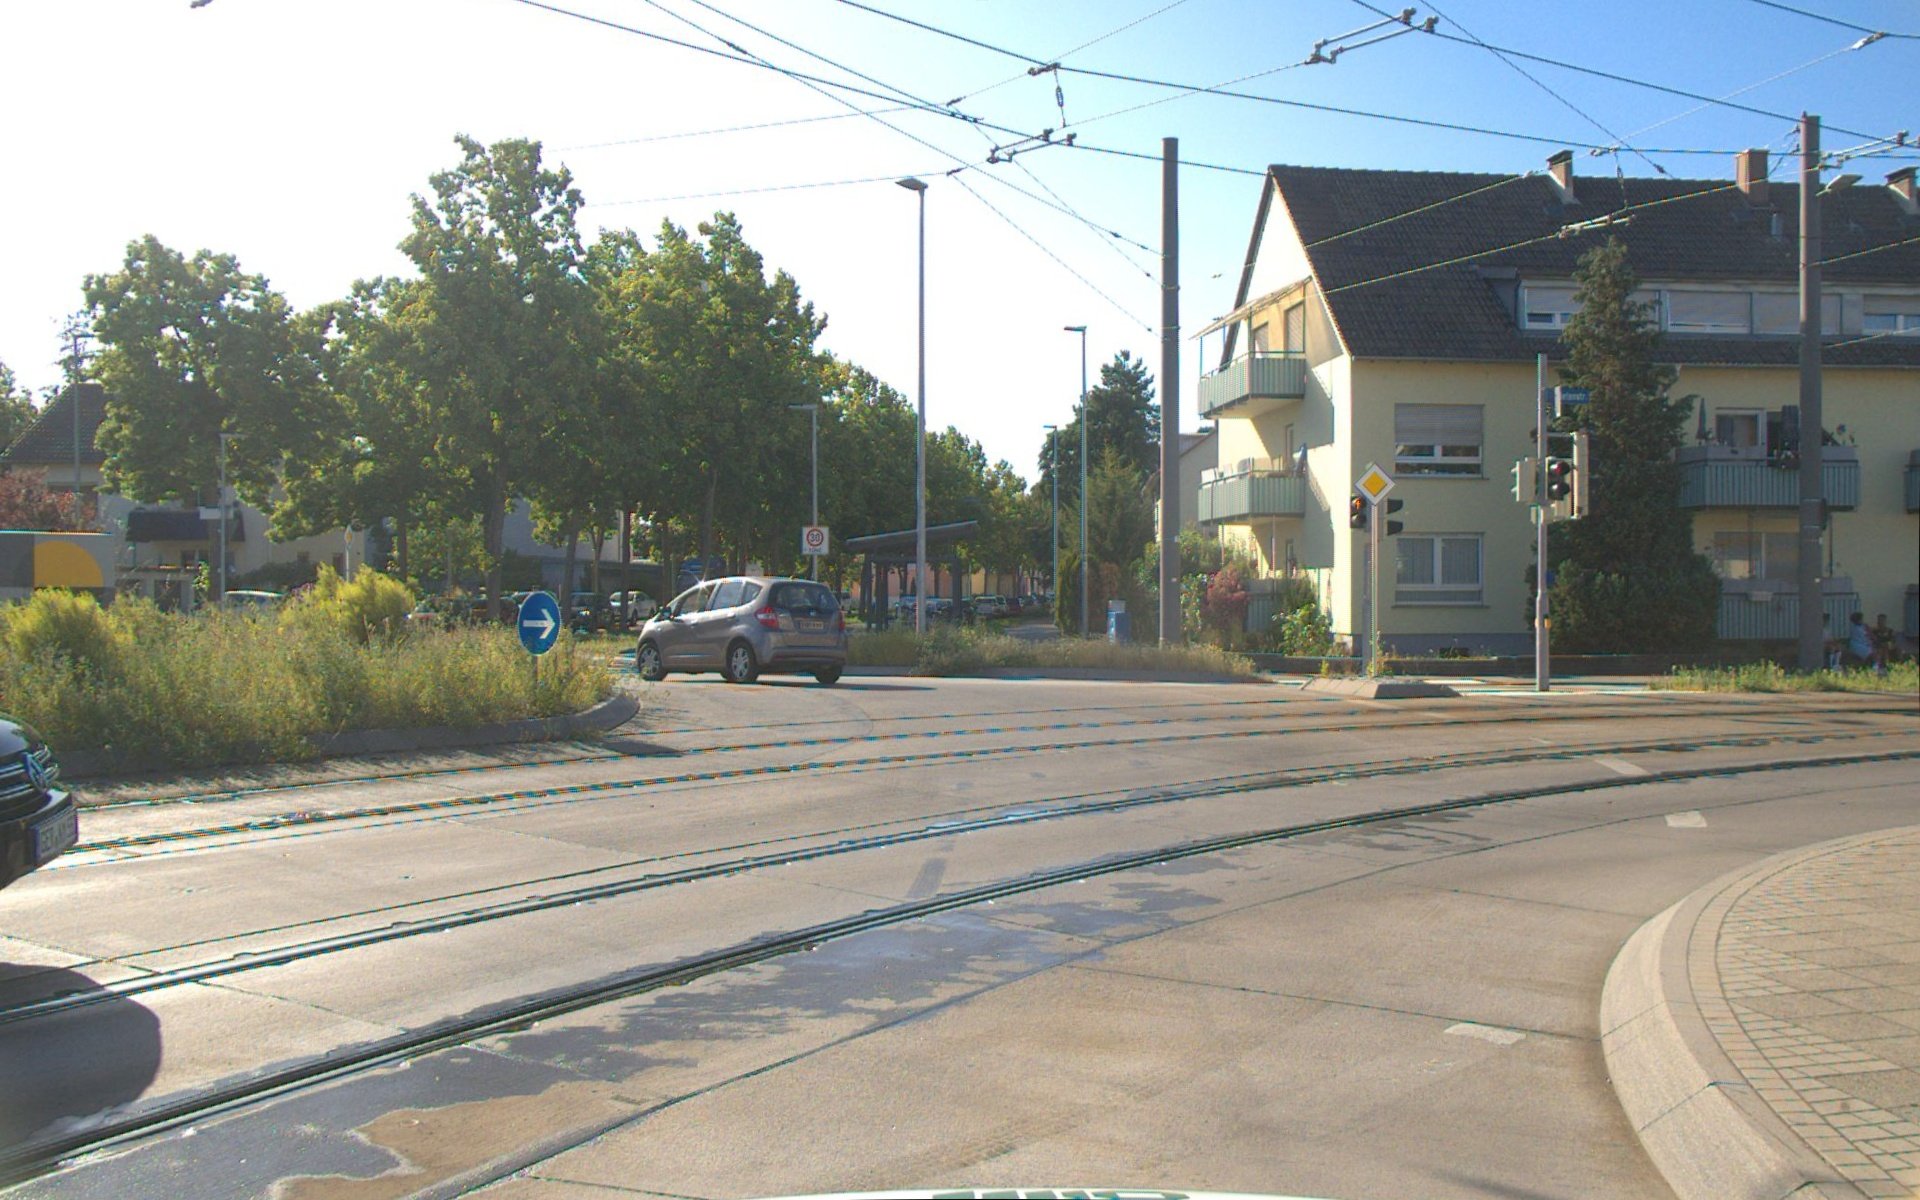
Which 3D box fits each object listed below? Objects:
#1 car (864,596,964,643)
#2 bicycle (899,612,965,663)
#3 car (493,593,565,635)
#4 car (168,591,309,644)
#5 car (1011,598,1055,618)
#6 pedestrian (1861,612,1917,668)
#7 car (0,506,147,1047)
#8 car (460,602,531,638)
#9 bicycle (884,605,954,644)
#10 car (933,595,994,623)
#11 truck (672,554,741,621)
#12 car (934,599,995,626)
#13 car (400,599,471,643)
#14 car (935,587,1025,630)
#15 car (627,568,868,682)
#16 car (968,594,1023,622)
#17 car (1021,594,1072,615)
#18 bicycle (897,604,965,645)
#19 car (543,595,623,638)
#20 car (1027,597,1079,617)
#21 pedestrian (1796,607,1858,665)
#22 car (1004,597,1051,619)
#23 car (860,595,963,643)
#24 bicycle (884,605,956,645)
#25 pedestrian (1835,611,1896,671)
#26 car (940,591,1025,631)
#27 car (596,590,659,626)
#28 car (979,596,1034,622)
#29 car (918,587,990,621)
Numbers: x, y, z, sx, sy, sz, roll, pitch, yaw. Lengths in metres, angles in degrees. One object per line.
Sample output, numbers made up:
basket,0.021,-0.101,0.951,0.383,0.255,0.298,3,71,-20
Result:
car,-1.631,0.674,59.042,3.444,1.560,1.578,1,0,1
bicycle,-0.710,0.944,41.965,1.632,1.229,0.688,1,0,-3
car,-18.728,0.591,72.085,1.952,1.729,4.218,1,0,1
car,-25.046,0.596,57.516,3.953,1.724,2.001,1,0,2
car,5.911,0.635,134.273,3.444,1.560,1.577,1,0,0
pedestrian,17.567,0.752,31.274,0.587,1.023,0.717,2,0,-30
car,-5.205,0.541,5.479,4.170,1.700,1.812,0,1,-13
car,-18.865,0.802,67.273,1.922,1.347,3.997,1,0,-3
bicycle,-1.164,0.683,46.603,1.933,1.045,0.688,1,0,-3
car,0.208,0.532,93.985,3.340,1.560,1.526,0,0,5
truck,-16.191,-0.789,106.291,3.006,4.062,8.009,1,0,1
car,0.270,0.723,95.694,3.368,1.419,1.238,1,0,5
car,-19.328,0.754,61.101,1.765,1.490,3.796,1,0,-7
car,0.790,0.312,64.197,3.444,1.560,1.578,1,0,1
car,-3.195,0.295,24.396,1.679,1.517,3.855,-1,2,-42
car,2.128,0.490,99.509,3.290,1.560,1.523,1,0,0
car,5.928,0.313,113.690,3.444,1.301,1.577,1,0,0
bicycle,-0.785,0.664,44.761,1.804,1.045,0.688,1,0,-3
car,-14.760,0.623,64.972,1.792,1.608,4.443,1,0,5
car,6.403,0.477,113.859,3.444,1.318,1.577,1,0,0
pedestrian,16.146,0.663,30.799,0.673,1.065,0.818,1,0,-8
car,5.034,0.621,123.647,3.444,1.560,1.577,1,0,0
car,-1.668,0.652,57.287,3.444,1.560,1.578,1,0,1
bicycle,-1.111,0.685,45.653,1.933,1.045,0.696,1,0,-3
pedestrian,16.976,0.762,31.007,0.620,1.083,0.808,2,0,-39
car,0.937,0.451,68.784,3.444,1.560,1.578,1,0,1
car,-17.748,0.433,88.627,1.951,1.804,5.063,1,0,5
car,2.920,0.553,104.273,3.407,1.519,1.552,1,0,0
car,-0.288,0.180,81.172,3.444,1.560,1.578,1,0,1
